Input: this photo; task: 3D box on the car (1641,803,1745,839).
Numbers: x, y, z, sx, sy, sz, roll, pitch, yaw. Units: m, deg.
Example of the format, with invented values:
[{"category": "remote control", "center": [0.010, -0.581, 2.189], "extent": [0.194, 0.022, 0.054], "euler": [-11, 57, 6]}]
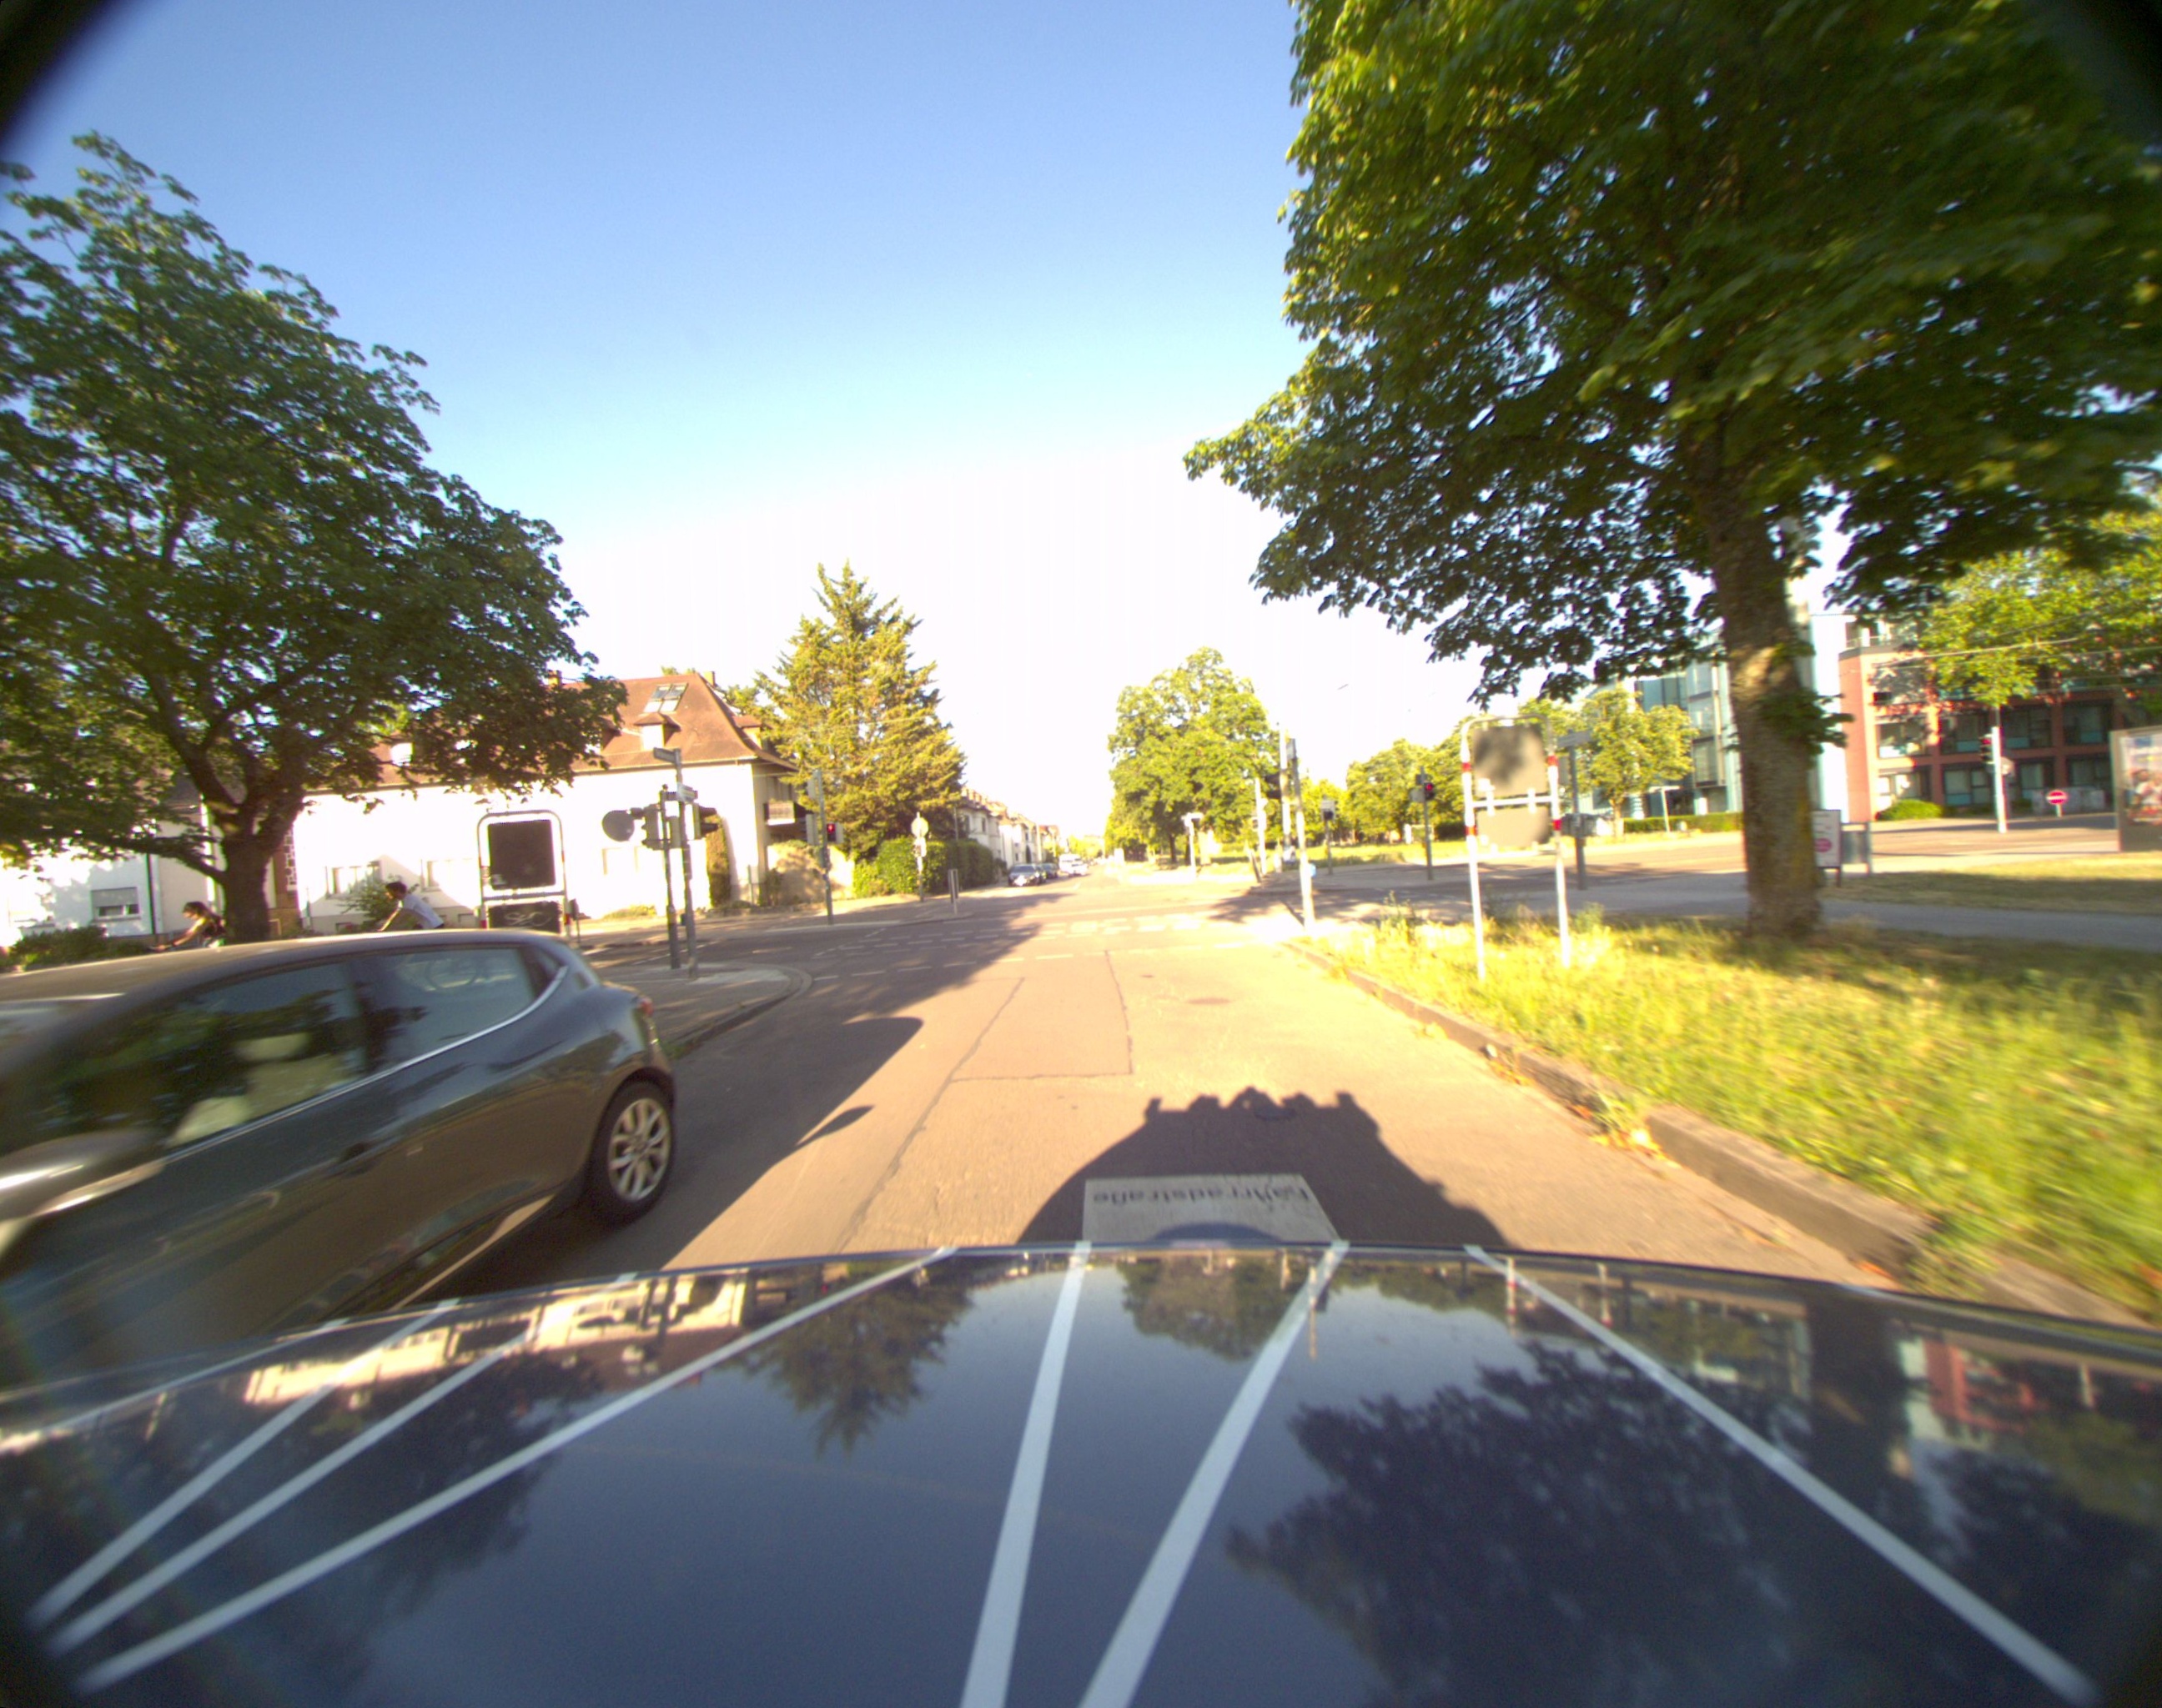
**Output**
[{"category": "car", "center": [40.624, -2.157, 50.480], "extent": [5.220, 1.662, 1.967], "euler": [-7, 1, -1]}]

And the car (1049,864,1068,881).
[{"category": "car", "center": [-2.381, 1.954, 81.201], "extent": [1.789, 1.498, 4.000], "euler": [-7, 0, 0]}]

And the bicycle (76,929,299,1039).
[{"category": "bicycle", "center": [-13.022, 1.853, 11.179], "extent": [1.966, 1.177, 0.491], "euler": [-8, 2, -42]}]

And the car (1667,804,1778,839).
[{"category": "car", "center": [40.547, -2.049, 48.098], "extent": [5.220, 1.662, 2.000], "euler": [-6, 1, 0]}]

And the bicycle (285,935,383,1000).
[{"category": "bicycle", "center": [-14.133, 2.143, 14.379], "extent": [1.525, 1.083, 0.467], "euler": [-4, 0, 10]}]

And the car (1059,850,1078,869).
[{"category": "car", "center": [-1.754, 0.744, 107.664], "extent": [2.131, 2.461, 5.724], "euler": [-7, 1, 2]}]

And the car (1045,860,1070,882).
[{"category": "car", "center": [-2.200, 1.601, 71.818], "extent": [1.998, 1.751, 4.000], "euler": [-6, 1, 2]}]

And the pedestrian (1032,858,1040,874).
[{"category": "pedestrian", "center": [-5.370, 1.415, 90.964], "extent": [0.587, 1.835, 0.824], "euler": [-7, 1, 4]}]

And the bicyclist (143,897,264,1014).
[{"category": "bicyclist", "center": [-12.939, 1.466, 11.245], "extent": [0.895, 1.553, 0.713], "euler": [-7, 1, -36]}]

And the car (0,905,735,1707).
[{"category": "car", "center": [-2.959, 1.155, 2.151], "extent": [1.730, 1.502, 4.540], "euler": [-7, 0, 0]}]

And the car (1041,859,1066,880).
[{"category": "car", "center": [-2.372, 1.371, 67.182], "extent": [1.796, 1.586, 4.078], "euler": [-7, -1, 2]}]

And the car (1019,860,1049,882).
[{"category": "car", "center": [-3.587, 1.320, 58.687], "extent": [1.784, 1.469, 4.001], "euler": [-7, -1, 2]}]

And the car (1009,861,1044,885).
[{"category": "car", "center": [-3.747, 1.299, 52.740], "extent": [2.009, 1.489, 4.915], "euler": [-3, -1, 0]}]

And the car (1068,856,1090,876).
[{"category": "car", "center": [-0.242, 1.202, 76.312], "extent": [1.999, 1.775, 3.999], "euler": [-6, 1, -1]}]

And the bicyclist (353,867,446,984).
[{"category": "bicyclist", "center": [-11.021, 1.141, 12.333], "extent": [0.895, 1.722, 0.815], "euler": [-7, 1, -37]}]

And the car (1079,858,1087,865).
[{"category": "car", "center": [0.461, 1.603, 165.533], "extent": [1.682, 1.543, 3.843], "euler": [-3, 0, 0]}]

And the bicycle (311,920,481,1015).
[{"category": "bicycle", "center": [-11.005, 1.790, 12.311], "extent": [1.908, 1.177, 0.573], "euler": [-7, 1, -38]}]

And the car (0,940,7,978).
[{"category": "car", "center": [-47.883, 4.617, 31.432], "extent": [3.997, 1.586, 2.000], "euler": [-5, 0, 0]}]
